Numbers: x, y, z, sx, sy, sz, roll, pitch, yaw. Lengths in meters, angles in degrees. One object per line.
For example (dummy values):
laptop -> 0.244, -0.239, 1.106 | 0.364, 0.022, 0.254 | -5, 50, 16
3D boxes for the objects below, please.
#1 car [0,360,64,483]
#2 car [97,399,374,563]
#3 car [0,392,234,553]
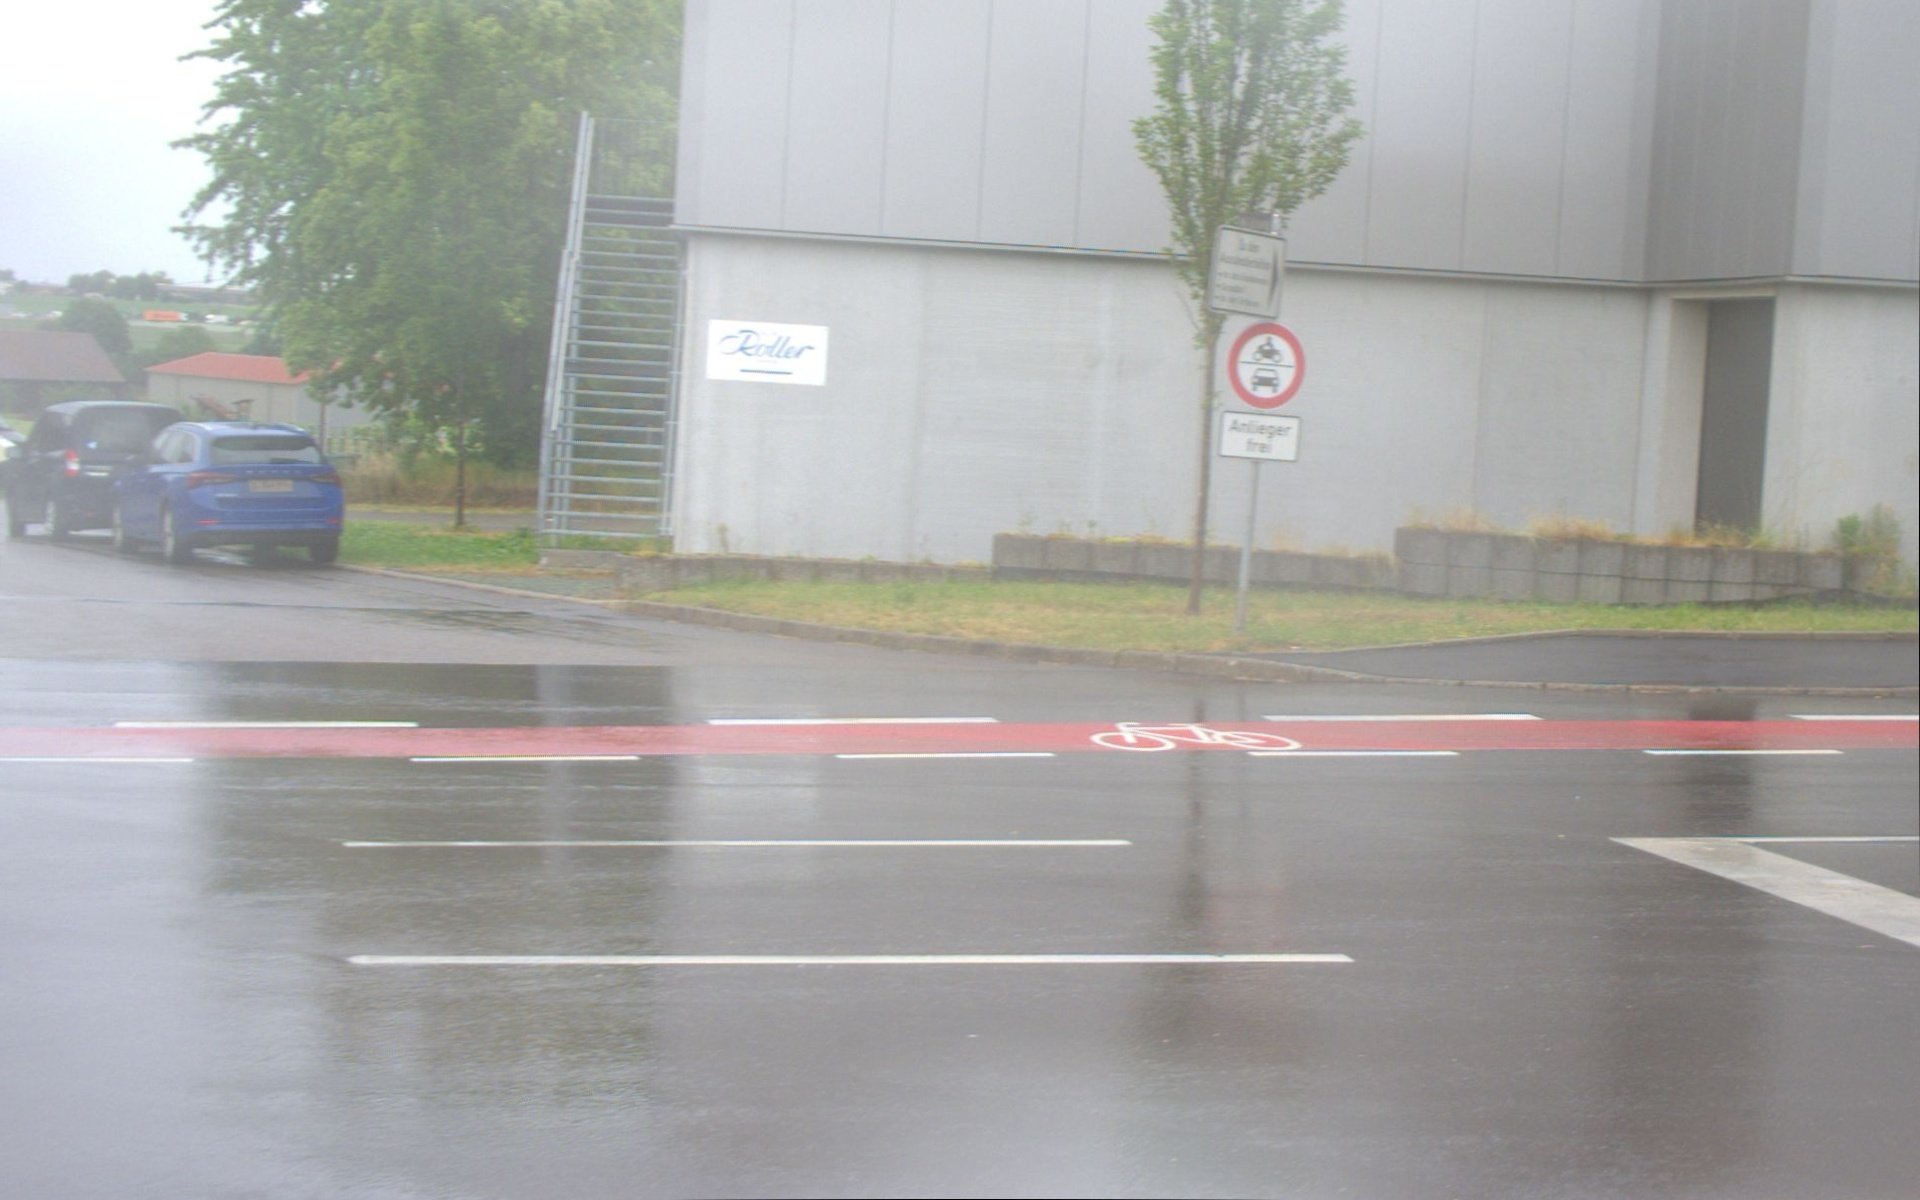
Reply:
car -> -21.394, -3.653, 69.228 | 6.009, 2.406, 2.463 | 2, 2, 2
car -> -7.796, -1.284, 36.676 | 1.951, 1.604, 4.448 | 1, 2, -24
car -> -10.443, -1.576, 42.351 | 2.073, 1.828, 4.472 | 1, 2, -23
